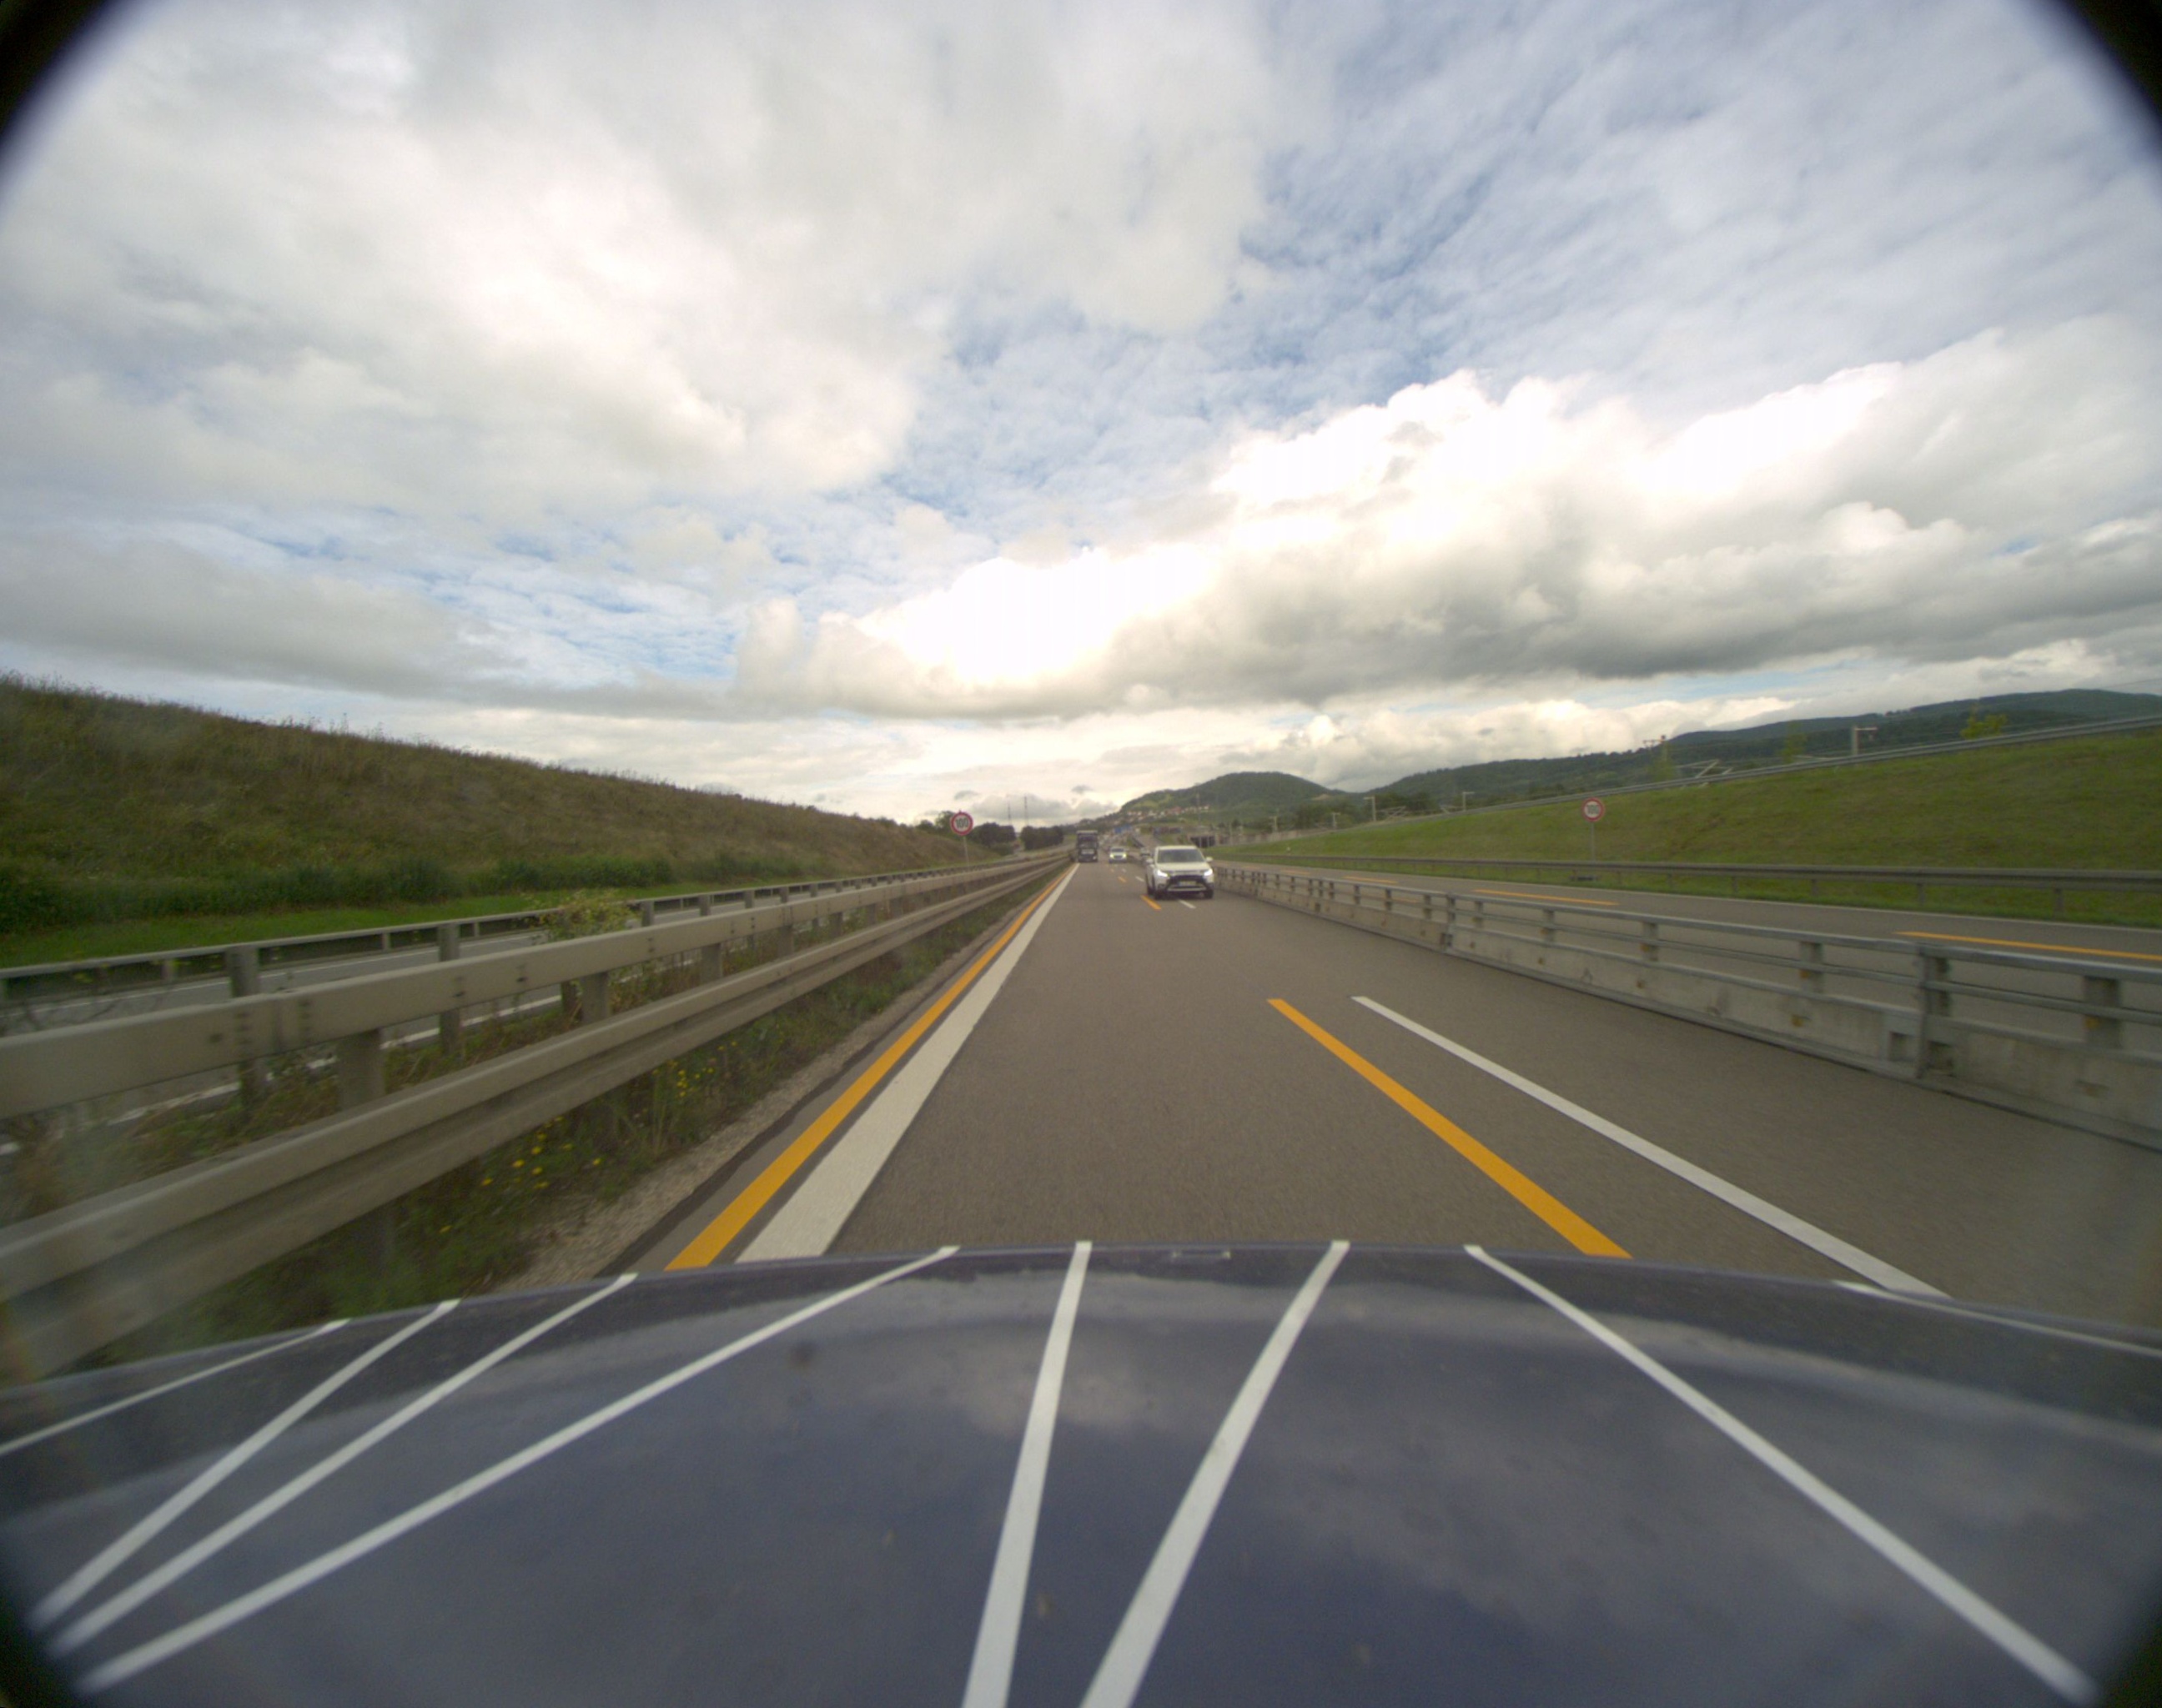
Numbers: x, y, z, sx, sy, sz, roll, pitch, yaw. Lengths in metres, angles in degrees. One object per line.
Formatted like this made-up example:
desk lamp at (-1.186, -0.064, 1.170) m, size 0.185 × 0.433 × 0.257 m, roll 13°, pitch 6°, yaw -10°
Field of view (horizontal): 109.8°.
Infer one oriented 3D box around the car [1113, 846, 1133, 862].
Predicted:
car at (4.797, -0.034, 87.259) m, size 1.990 × 1.787 × 4.585 m, roll -2°, pitch 1°, yaw 1°

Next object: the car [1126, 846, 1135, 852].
car at (13.302, -1.325, 205.144) m, size 2.094 × 1.571 × 4.281 m, roll -2°, pitch 1°, yaw 1°

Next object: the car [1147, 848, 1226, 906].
car at (3.234, 0.644, 24.200) m, size 1.998 × 1.618 × 4.607 m, roll -1°, pitch 0°, yaw 2°

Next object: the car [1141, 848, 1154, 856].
car at (12.132, -0.360, 138.761) m, size 1.894 × 1.517 × 4.182 m, roll -2°, pitch 1°, yaw 1°

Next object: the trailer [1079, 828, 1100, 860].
trailer at (1.260, -1.304, 102.327) m, size 2.521 × 4.081 × 11.113 m, roll -2°, pitch 1°, yaw 1°

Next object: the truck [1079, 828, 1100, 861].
truck at (1.137, -1.243, 97.482) m, size 2.521 × 4.081 × 5.685 m, roll -2°, pitch 1°, yaw 1°

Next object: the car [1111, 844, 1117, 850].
car at (11.356, -2.429, 260.858) m, size 1.801 × 1.786 × 3.999 m, roll -2°, pitch 1°, yaw 0°
